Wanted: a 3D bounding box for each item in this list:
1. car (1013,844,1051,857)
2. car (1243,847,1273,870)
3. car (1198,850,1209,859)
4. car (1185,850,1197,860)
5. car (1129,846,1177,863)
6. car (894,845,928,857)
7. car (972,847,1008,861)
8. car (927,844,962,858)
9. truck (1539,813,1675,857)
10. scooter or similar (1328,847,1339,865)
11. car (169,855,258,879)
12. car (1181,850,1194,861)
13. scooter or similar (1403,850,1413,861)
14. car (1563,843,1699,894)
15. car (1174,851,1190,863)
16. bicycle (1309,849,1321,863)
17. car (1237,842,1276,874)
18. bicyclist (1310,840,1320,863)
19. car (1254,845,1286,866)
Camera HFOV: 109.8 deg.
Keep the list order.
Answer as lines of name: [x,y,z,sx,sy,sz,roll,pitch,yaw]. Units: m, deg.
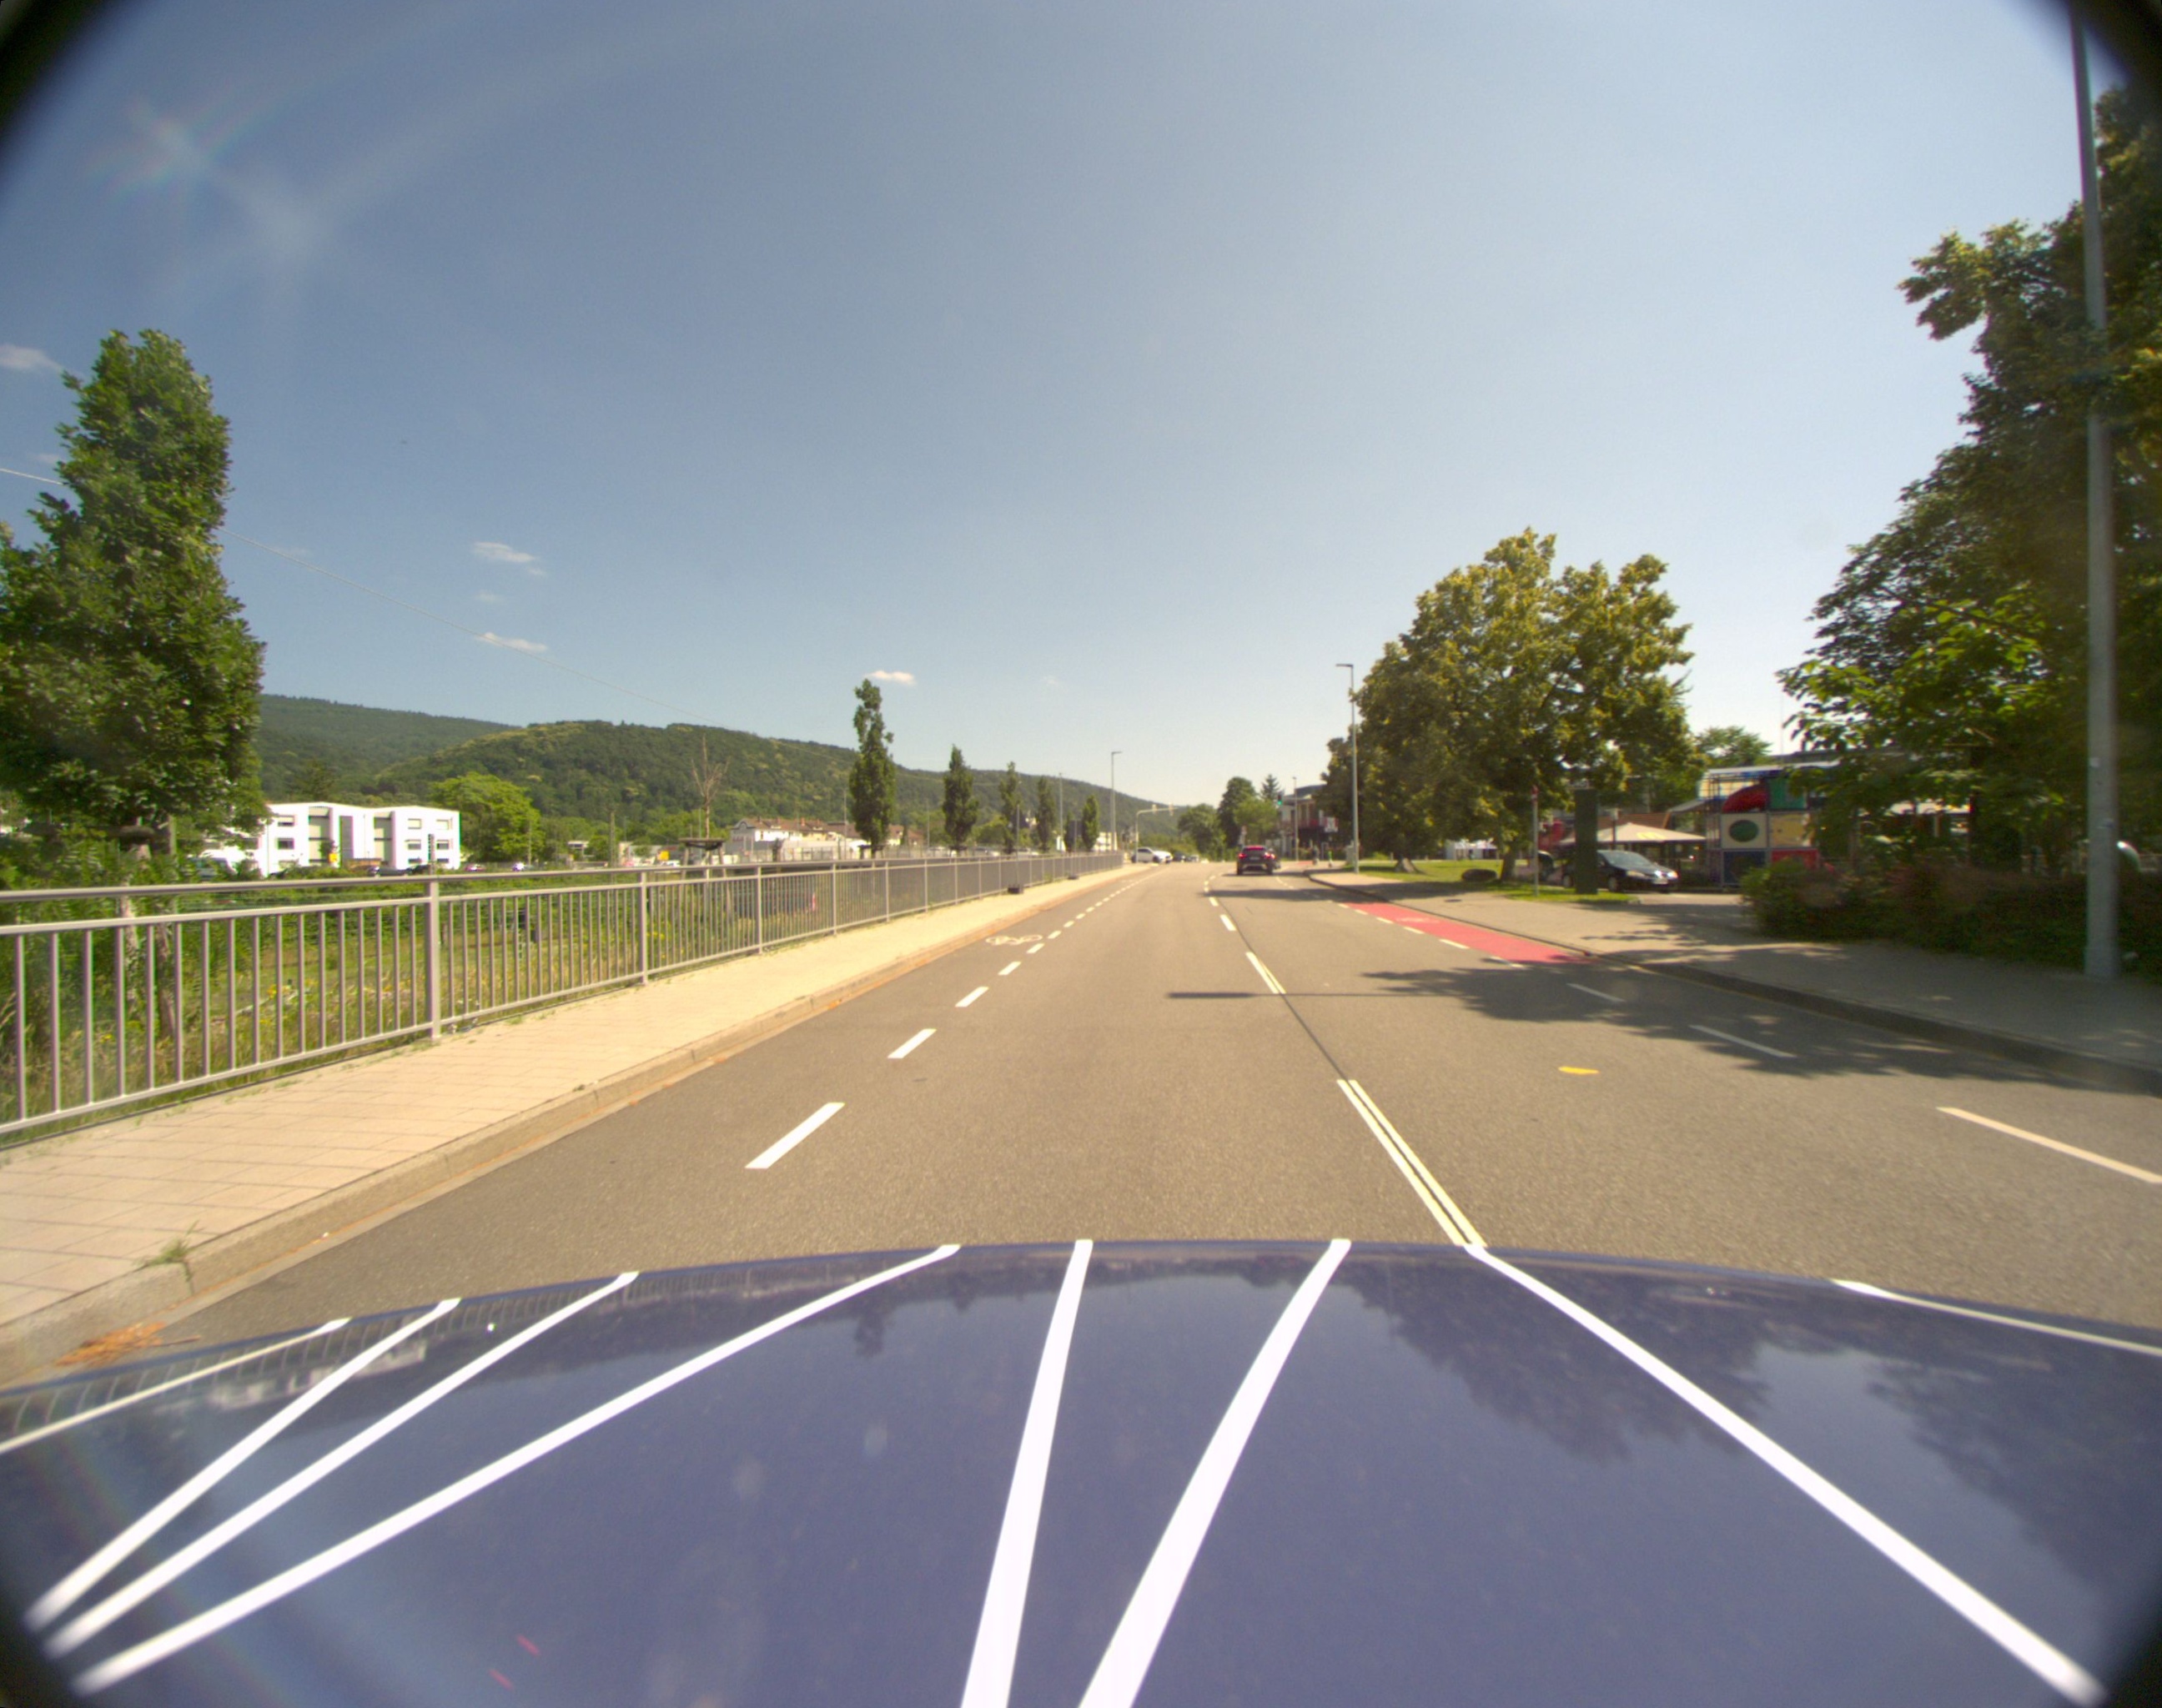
car: [-5.998,-0.481,92.297,4.397,1.462,1.739,1,4,30]
car: [11.349,0.278,48.557,1.658,1.373,4.005,0,0,17]
car: [22.028,0.036,136.841,1.670,1.524,4.003,0,0,12]
car: [17.329,0.162,119.495,1.670,1.524,4.003,0,0,12]
car: [7.395,0.051,78.366,4.619,1.709,2.004,0,1,41]
car: [-23.121,-0.408,103.141,4.431,1.617,1.740,-1,0,27]
car: [-11.539,-0.071,96.214,4.429,1.618,1.739,1,4,30]
car: [-17.960,-0.412,100.101,4.429,1.618,1.739,1,4,30]
truck: [43.840,-1.491,63.767,9.143,3.366,3.321,-1,0,32]
scooter or similar: [16.561,0.121,49.820,0.472,1.177,1.368,0,1,25]
car: [-80.391,1.147,70.526,1.996,2.100,4.996,0,0,14]
car: [16.173,0.195,114.854,1.670,1.524,4.003,0,0,12]
scooter or similar: [34.009,0.127,78.941,0.499,1.117,1.507,0,1,42]
car: [18.164,0.435,25.376,1.863,1.543,4.190,-1,0,7]
car: [14.683,0.380,109.980,1.827,1.618,4.241,0,0,14]
bicycle: [18.861,0.173,61.222,0.697,1.098,1.758,1,1,22]
car: [9.817,0.191,42.299,1.953,1.685,4.618,0,0,15]
bicyclist: [18.833,-0.196,61.195,0.711,1.778,0.810,0,1,22]
car: [13.820,0.101,55.488,1.781,1.488,4.729,0,0,20]
